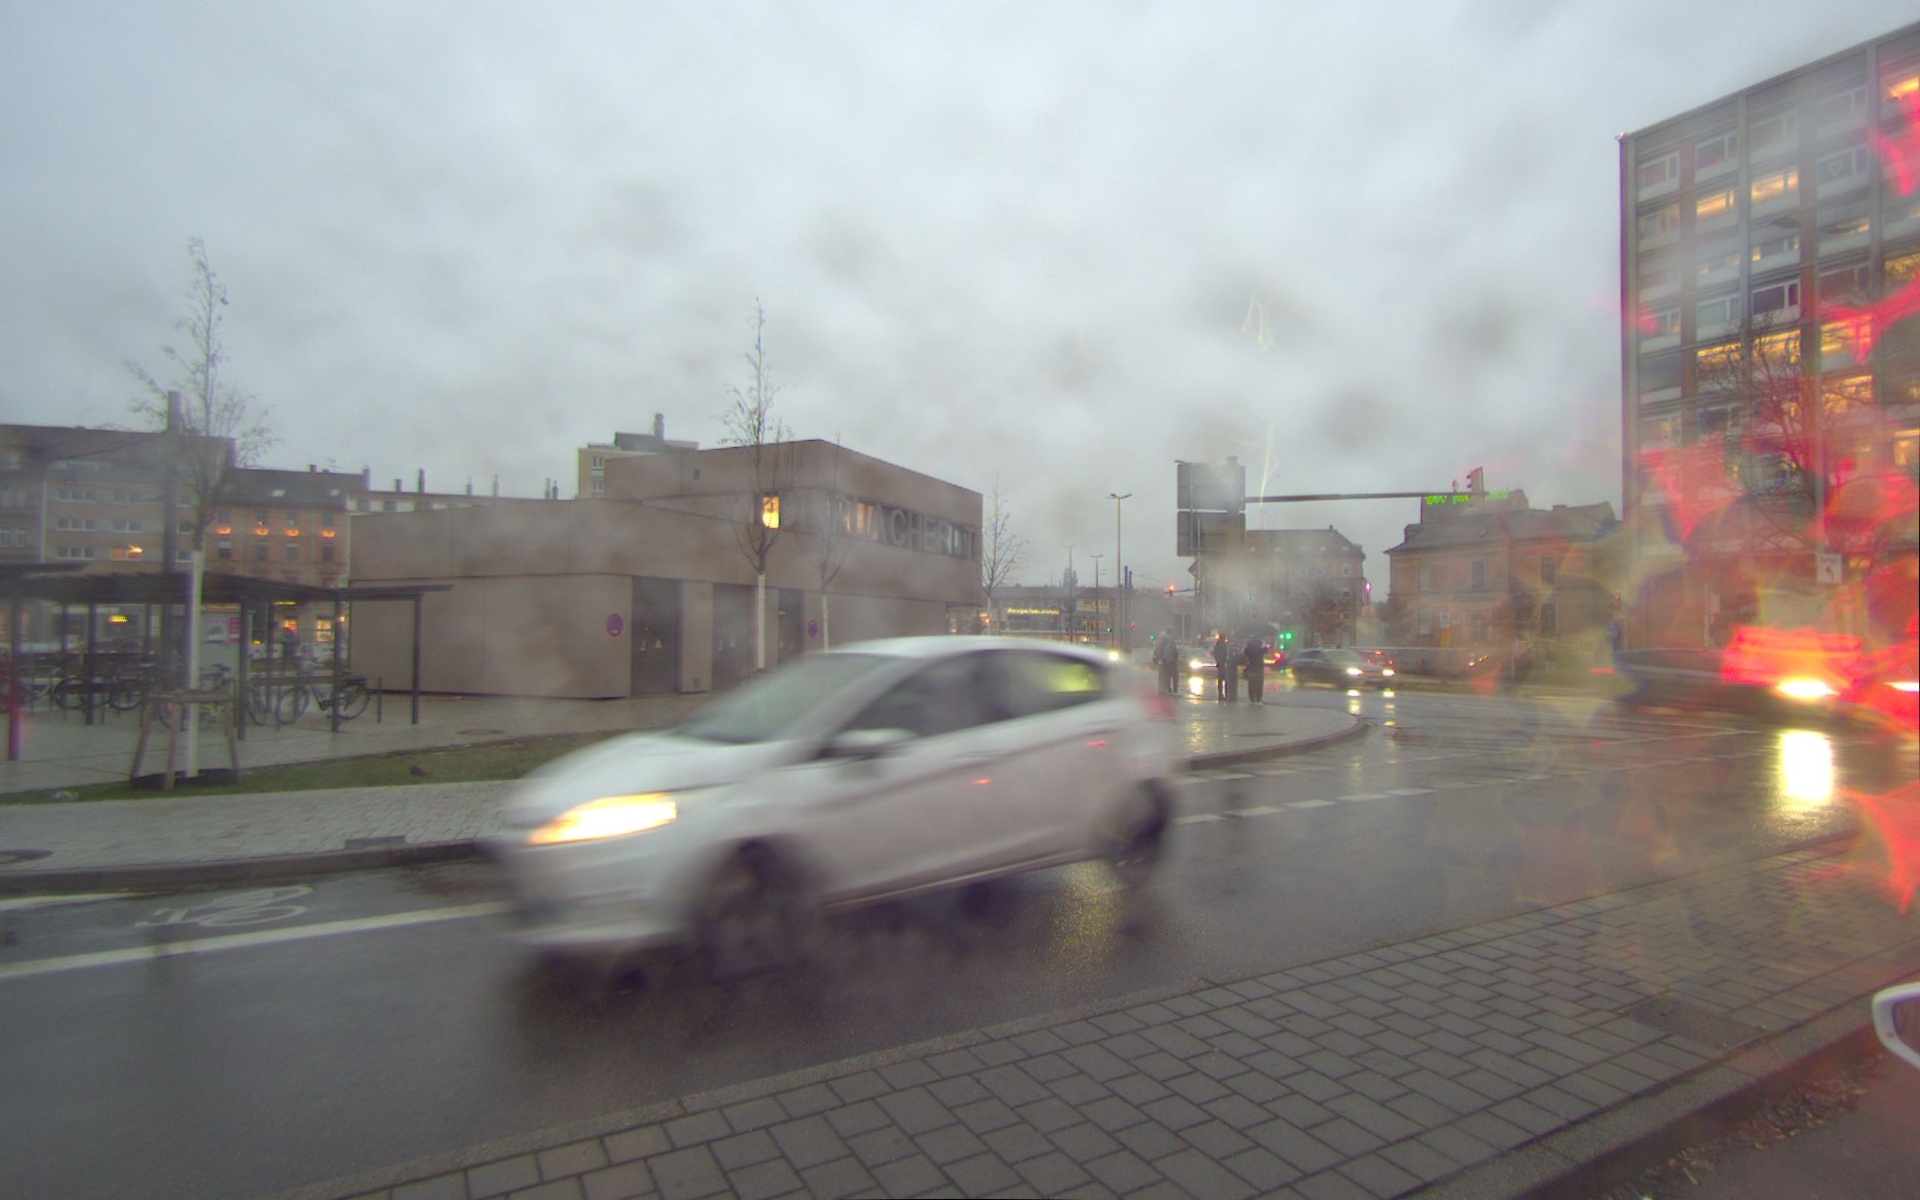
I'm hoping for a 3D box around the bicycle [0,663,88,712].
[{"bbox_3d":[-18.522,1.736,19.989,0.466,0.903,1.693,1,-2,24],"label":"bicycle"}]

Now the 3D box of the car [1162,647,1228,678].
[{"bbox_3d":[12.105,3.194,51.962,1.778,1.496,4.667,1,-3,-8],"label":"car"}]

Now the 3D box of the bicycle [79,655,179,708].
[{"bbox_3d":[-17.700,1.714,21.432,0.511,1.050,1.574,1,-2,19],"label":"bicycle"}]

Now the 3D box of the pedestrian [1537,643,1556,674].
[{"bbox_3d":[32.768,3.263,56.093,0.626,1.710,0.640,0,-2,-13],"label":"pedestrian"}]

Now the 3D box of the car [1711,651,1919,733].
[{"bbox_3d":[18.347,1.846,21.007,1.782,1.497,3.954,2,-3,-17],"label":"car"}]

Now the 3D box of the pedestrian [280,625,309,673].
[{"bbox_3d":[-23.868,1.763,36.033,0.518,1.688,0.701,-1,-2,2],"label":"pedestrian"}]

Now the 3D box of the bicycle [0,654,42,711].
[{"bbox_3d":[-19.407,1.636,19.838,0.466,1.122,1.797,1,-2,29],"label":"bicycle"}]

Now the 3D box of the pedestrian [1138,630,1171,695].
[{"bbox_3d":[5.451,1.744,28.176,0.544,1.793,0.734,2,-3,-43],"label":"pedestrian"}]

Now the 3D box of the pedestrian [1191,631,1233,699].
[{"bbox_3d":[6.703,1.714,26.724,0.838,1.778,0.659,0,-2,-14],"label":"pedestrian"}]

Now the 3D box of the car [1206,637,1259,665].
[{"bbox_3d":[19.603,3.662,72.356,3.514,1.850,1.672,2,0,8],"label":"car"}]

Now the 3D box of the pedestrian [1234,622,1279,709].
[{"bbox_3d":[7.203,1.582,24.379,0.971,2.047,0.802,-1,-2,19],"label":"pedestrian"}]

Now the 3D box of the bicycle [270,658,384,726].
[{"bbox_3d":[-11.763,1.679,18.719,0.605,1.172,1.755,1,-2,20],"label":"bicycle"}]

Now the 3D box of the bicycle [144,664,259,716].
[{"bbox_3d":[-15.193,1.782,20.174,0.466,0.968,1.767,1,-2,29],"label":"bicycle"}]

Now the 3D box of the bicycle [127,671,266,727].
[{"bbox_3d":[-13.599,1.741,17.951,0.466,0.903,1.923,1,-2,29],"label":"bicycle"}]

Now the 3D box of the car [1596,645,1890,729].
[{"bbox_3d":[15.673,1.681,20.475,1.781,1.496,4.580,1,-3,-15],"label":"car"}]

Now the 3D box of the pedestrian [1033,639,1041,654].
[{"bbox_3d":[10.654,6.489,139.617,0.960,2.040,0.921,-1,-2,11],"label":"pedestrian"}]

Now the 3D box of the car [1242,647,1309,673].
[{"bbox_3d":[20.073,3.813,63.981,3.741,1.502,1.602,2,0,-1],"label":"car"}]

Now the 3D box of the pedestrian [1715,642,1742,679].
[{"bbox_3d":[34.725,2.745,45.373,0.548,1.649,0.760,0,-2,-15],"label":"pedestrian"}]

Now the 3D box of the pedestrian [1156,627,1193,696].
[{"bbox_3d":[5.912,1.686,27.656,0.671,1.863,0.726,1,-3,-42],"label":"pedestrian"}]

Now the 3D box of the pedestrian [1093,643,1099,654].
[{"bbox_3d":[24.173,8.614,178.623,0.960,2.040,0.921,-1,-2,11],"label":"pedestrian"}]

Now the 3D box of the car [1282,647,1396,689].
[{"bbox_3d":[14.347,2.549,38.290,1.780,1.496,4.660,1,-3,-13],"label":"car"}]

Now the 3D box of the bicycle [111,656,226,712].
[{"bbox_3d":[-16.543,1.740,21.038,0.466,1.087,1.830,1,-2,26],"label":"bicycle"}]

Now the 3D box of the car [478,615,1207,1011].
[{"bbox_3d":[-0.487,0.915,5.601,3.681,1.467,1.727,3,-5,-38],"label":"car"}]

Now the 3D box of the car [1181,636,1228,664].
[{"bbox_3d":[16.061,3.255,66.123,1.792,1.589,3.997,2,0,-4],"label":"car"}]

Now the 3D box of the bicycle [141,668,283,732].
[{"bbox_3d":[-12.949,1.706,17.459,0.466,0.989,1.923,1,-2,29],"label":"bicycle"}]

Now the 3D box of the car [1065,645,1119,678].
[{"bbox_3d":[6.714,3.139,51.443,1.742,1.598,3.995,0,-2,-8],"label":"car"}]

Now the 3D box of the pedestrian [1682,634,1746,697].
[{"bbox_3d":[23.285,2.009,31.018,1.118,1.867,1.003,-2,-2,-11],"label":"pedestrian"}]

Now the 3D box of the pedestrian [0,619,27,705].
[{"bbox_3d":[-20.405,1.290,20.921,0.992,1.787,1.067,-1,-2,19],"label":"pedestrian"}]

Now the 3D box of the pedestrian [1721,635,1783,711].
[{"bbox_3d":[21.309,1.949,27.042,0.946,2.004,0.925,0,-2,-24],"label":"pedestrian"}]

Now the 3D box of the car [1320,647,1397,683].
[{"bbox_3d":[20.481,3.316,51.819,1.795,1.589,3.991,2,0,-11],"label":"car"}]
